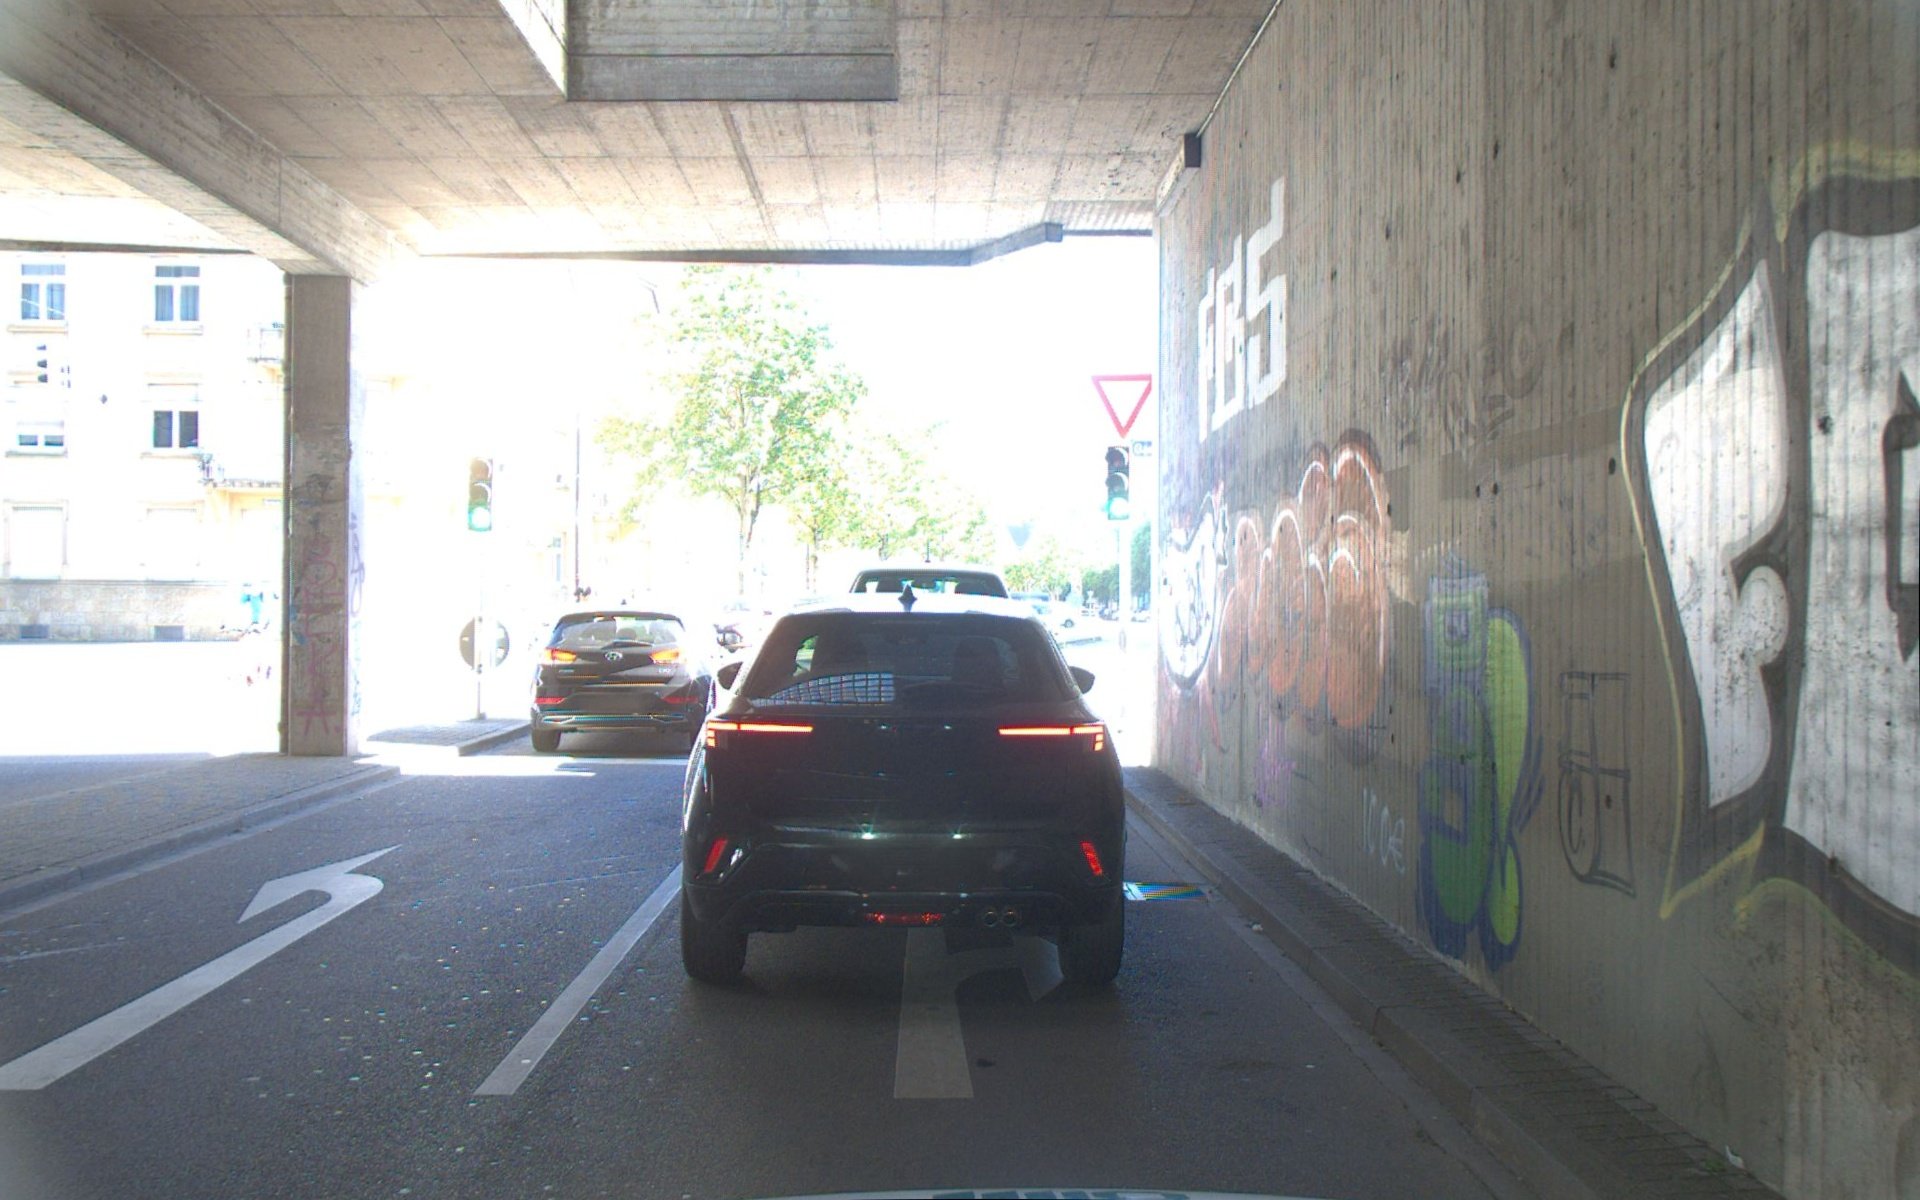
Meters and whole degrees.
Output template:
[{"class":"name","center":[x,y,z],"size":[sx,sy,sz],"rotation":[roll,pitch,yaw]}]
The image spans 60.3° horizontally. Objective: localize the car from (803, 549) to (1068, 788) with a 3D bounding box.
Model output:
[{"class":"car","center":[-0.395,0.536,15.475],"size":[2.091,1.867,4.935],"rotation":[0,0,-5]}]

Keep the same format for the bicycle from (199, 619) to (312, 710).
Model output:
[{"class":"bicycle","center":[-9.705,0.865,22.867],"size":[0.683,1.109,1.861],"rotation":[0,2,2]}]

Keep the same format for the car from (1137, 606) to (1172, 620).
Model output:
[{"class":"car","center":[22.547,1.541,191.834],"size":[3.866,1.421,1.516],"rotation":[-2,-1,1]}]

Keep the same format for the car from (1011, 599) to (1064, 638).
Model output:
[{"class":"car","center":[3.295,0.763,69.963],"size":[1.668,1.539,3.866],"rotation":[-2,0,11]}]

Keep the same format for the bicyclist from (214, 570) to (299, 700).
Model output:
[{"class":"bicyclist","center":[-9.719,0.464,22.874],"size":[0.730,1.741,0.967],"rotation":[0,2,2]}]

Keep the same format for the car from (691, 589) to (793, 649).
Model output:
[{"class":"car","center":[-5.508,0.464,42.127],"size":[1.622,1.466,3.466],"rotation":[0,0,10]}]

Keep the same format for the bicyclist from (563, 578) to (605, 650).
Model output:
[{"class":"bicyclist","center":[-9.011,0.329,39.704],"size":[0.766,1.689,1.031],"rotation":[0,0,0]}]

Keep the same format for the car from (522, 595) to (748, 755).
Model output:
[{"class":"car","center":[-3.307,0.694,17.615],"size":[1.765,1.476,4.323],"rotation":[-1,0,-3]}]

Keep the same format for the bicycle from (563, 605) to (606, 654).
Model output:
[{"class":"bicycle","center":[-8.995,0.697,39.694],"size":[0.530,1.142,2.059],"rotation":[0,0,1]}]

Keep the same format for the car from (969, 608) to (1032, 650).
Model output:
[{"class":"car","center":[1.516,1.037,60.459],"size":[1.671,1.477,3.854],"rotation":[0,0,11]}]

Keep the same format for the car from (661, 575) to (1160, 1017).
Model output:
[{"class":"car","center":[-0.193,0.696,7.737],"size":[1.745,1.544,3.755],"rotation":[1,0,-1]}]

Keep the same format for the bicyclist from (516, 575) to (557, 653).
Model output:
[{"class":"bicyclist","center":[-9.133,0.301,35.672],"size":[0.593,1.661,0.910],"rotation":[0,0,4]}]

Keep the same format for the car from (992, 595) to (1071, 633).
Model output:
[{"class":"car","center":[4.961,0.947,115.090],"size":[5.174,2.590,1.977],"rotation":[0,-1,-16]}]

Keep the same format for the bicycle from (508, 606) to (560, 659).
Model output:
[{"class":"bicycle","center":[-9.139,0.680,35.536],"size":[0.514,1.109,1.861],"rotation":[0,0,5]}]

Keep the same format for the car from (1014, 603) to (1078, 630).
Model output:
[{"class":"car","center":[6.923,1.345,132.647],"size":[4.822,2.119,1.970],"rotation":[0,-1,-25]}]
